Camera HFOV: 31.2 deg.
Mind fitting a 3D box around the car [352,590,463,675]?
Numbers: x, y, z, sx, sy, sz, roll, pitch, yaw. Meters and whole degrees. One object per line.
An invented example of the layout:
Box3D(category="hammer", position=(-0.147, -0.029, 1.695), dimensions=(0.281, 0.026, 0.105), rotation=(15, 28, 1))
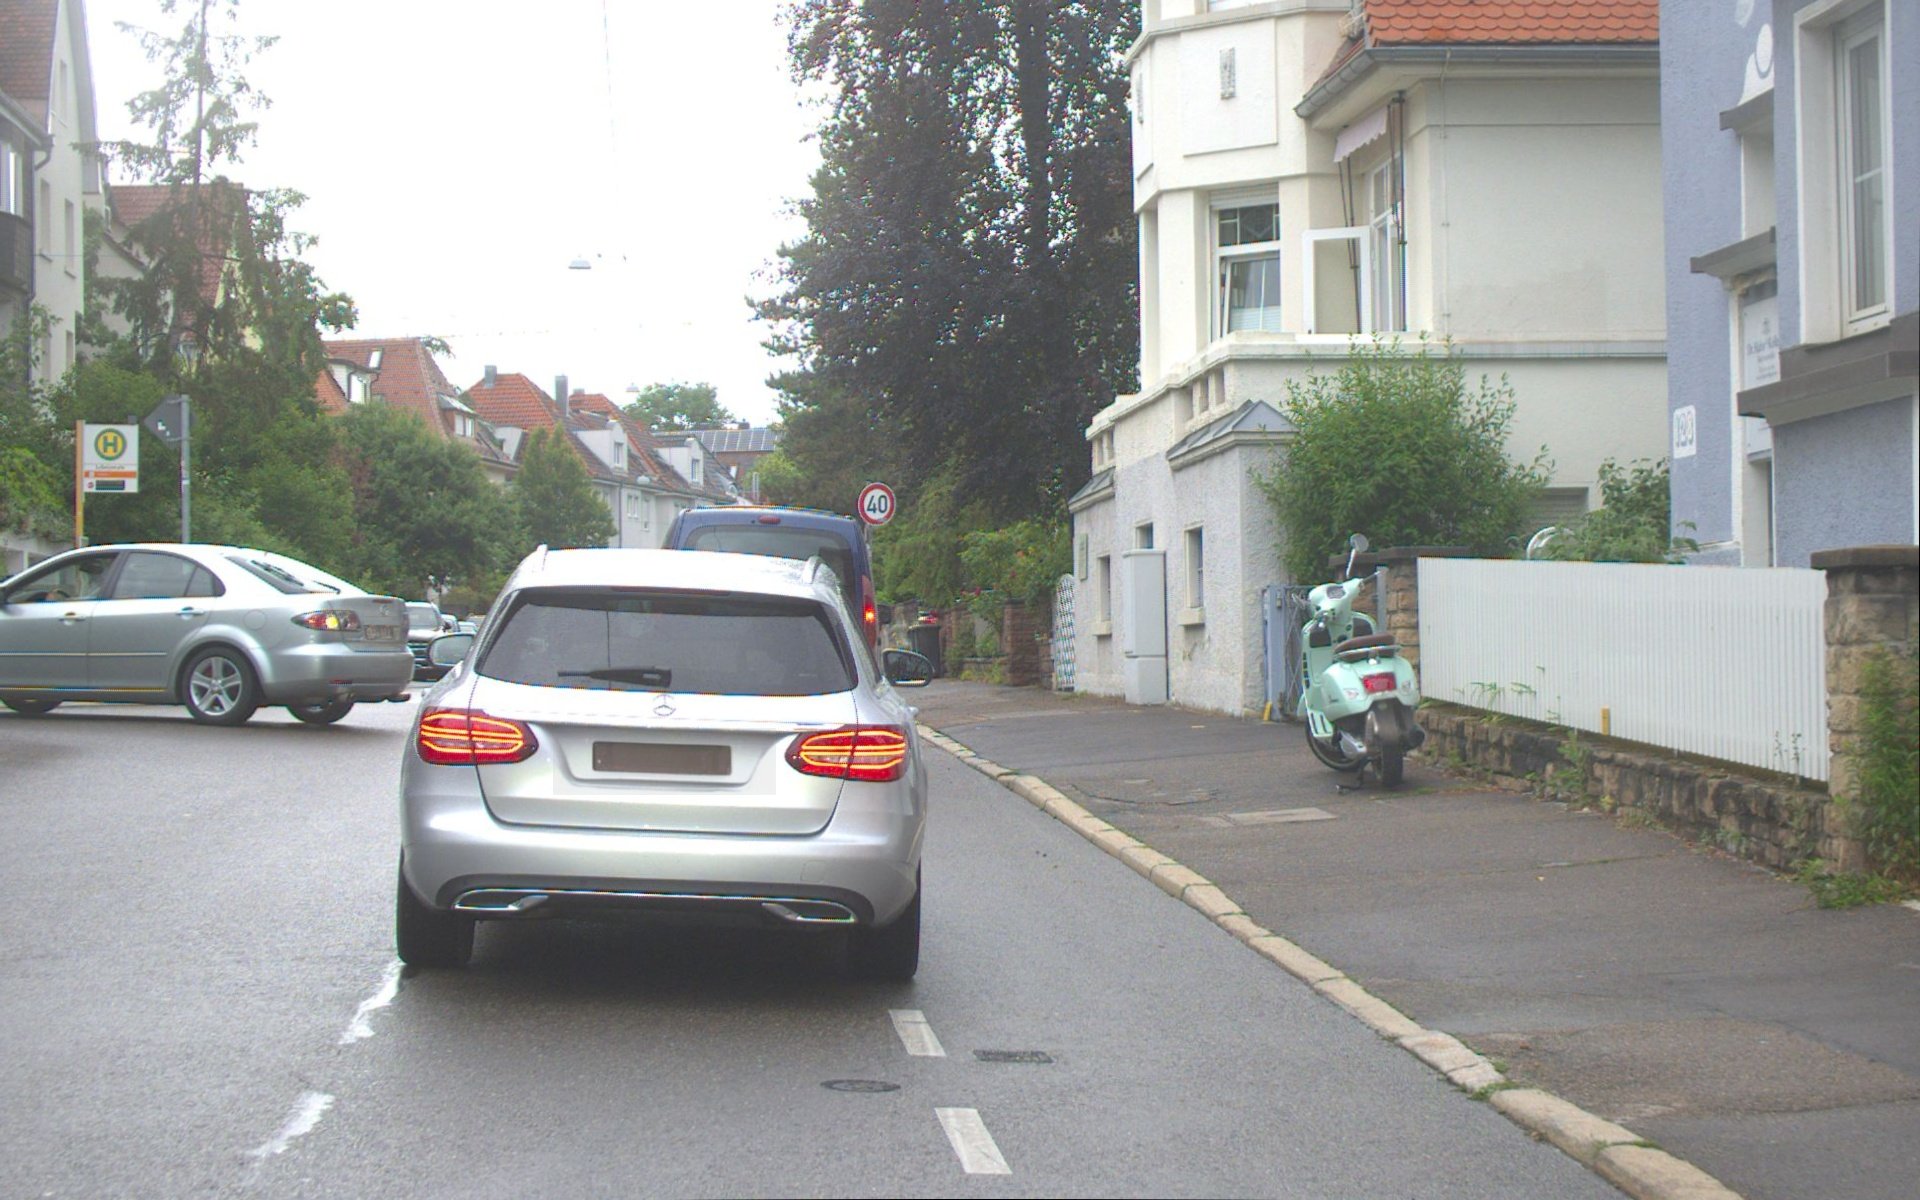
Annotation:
Box3D(category="car", position=(-11.028, 0.668, 68.852), dimensions=(1.893, 1.617, 4.379), rotation=(1, -1, -5))

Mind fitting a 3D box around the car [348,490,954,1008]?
Box3D(category="car", position=(-1.098, 0.445, 12.543), dimensions=(1.816, 1.551, 4.001), rotation=(1, 0, -4))

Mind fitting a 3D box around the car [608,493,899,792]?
Box3D(category="car", position=(-1.435, 0.339, 24.265), dimensions=(1.842, 1.897, 4.000), rotation=(1, -2, -3))

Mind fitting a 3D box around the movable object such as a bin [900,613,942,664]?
Box3D(category="movable object such as a bin", position=(-0.657, 0.646, 57.722), dimensions=(0.650, 0.853, 0.503), rotation=(1, 0, -7))

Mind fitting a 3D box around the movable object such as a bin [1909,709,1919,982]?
Box3D(category="movable object such as a bin", position=(3.274, 0.790, 10.523), dimensions=(0.532, 0.915, 0.488), rotation=(-3, 1, -7))

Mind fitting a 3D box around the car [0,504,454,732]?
Box3D(category="car", position=(-6.441, 0.093, 27.267), dimensions=(4.370, 1.551, 1.820), rotation=(4, 0, 19))

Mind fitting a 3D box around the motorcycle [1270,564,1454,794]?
Box3D(category="motorcycle", position=(2.345, 0.433, 20.312), dimensions=(0.693, 1.222, 2.153), rotation=(-6, 1, -1))
